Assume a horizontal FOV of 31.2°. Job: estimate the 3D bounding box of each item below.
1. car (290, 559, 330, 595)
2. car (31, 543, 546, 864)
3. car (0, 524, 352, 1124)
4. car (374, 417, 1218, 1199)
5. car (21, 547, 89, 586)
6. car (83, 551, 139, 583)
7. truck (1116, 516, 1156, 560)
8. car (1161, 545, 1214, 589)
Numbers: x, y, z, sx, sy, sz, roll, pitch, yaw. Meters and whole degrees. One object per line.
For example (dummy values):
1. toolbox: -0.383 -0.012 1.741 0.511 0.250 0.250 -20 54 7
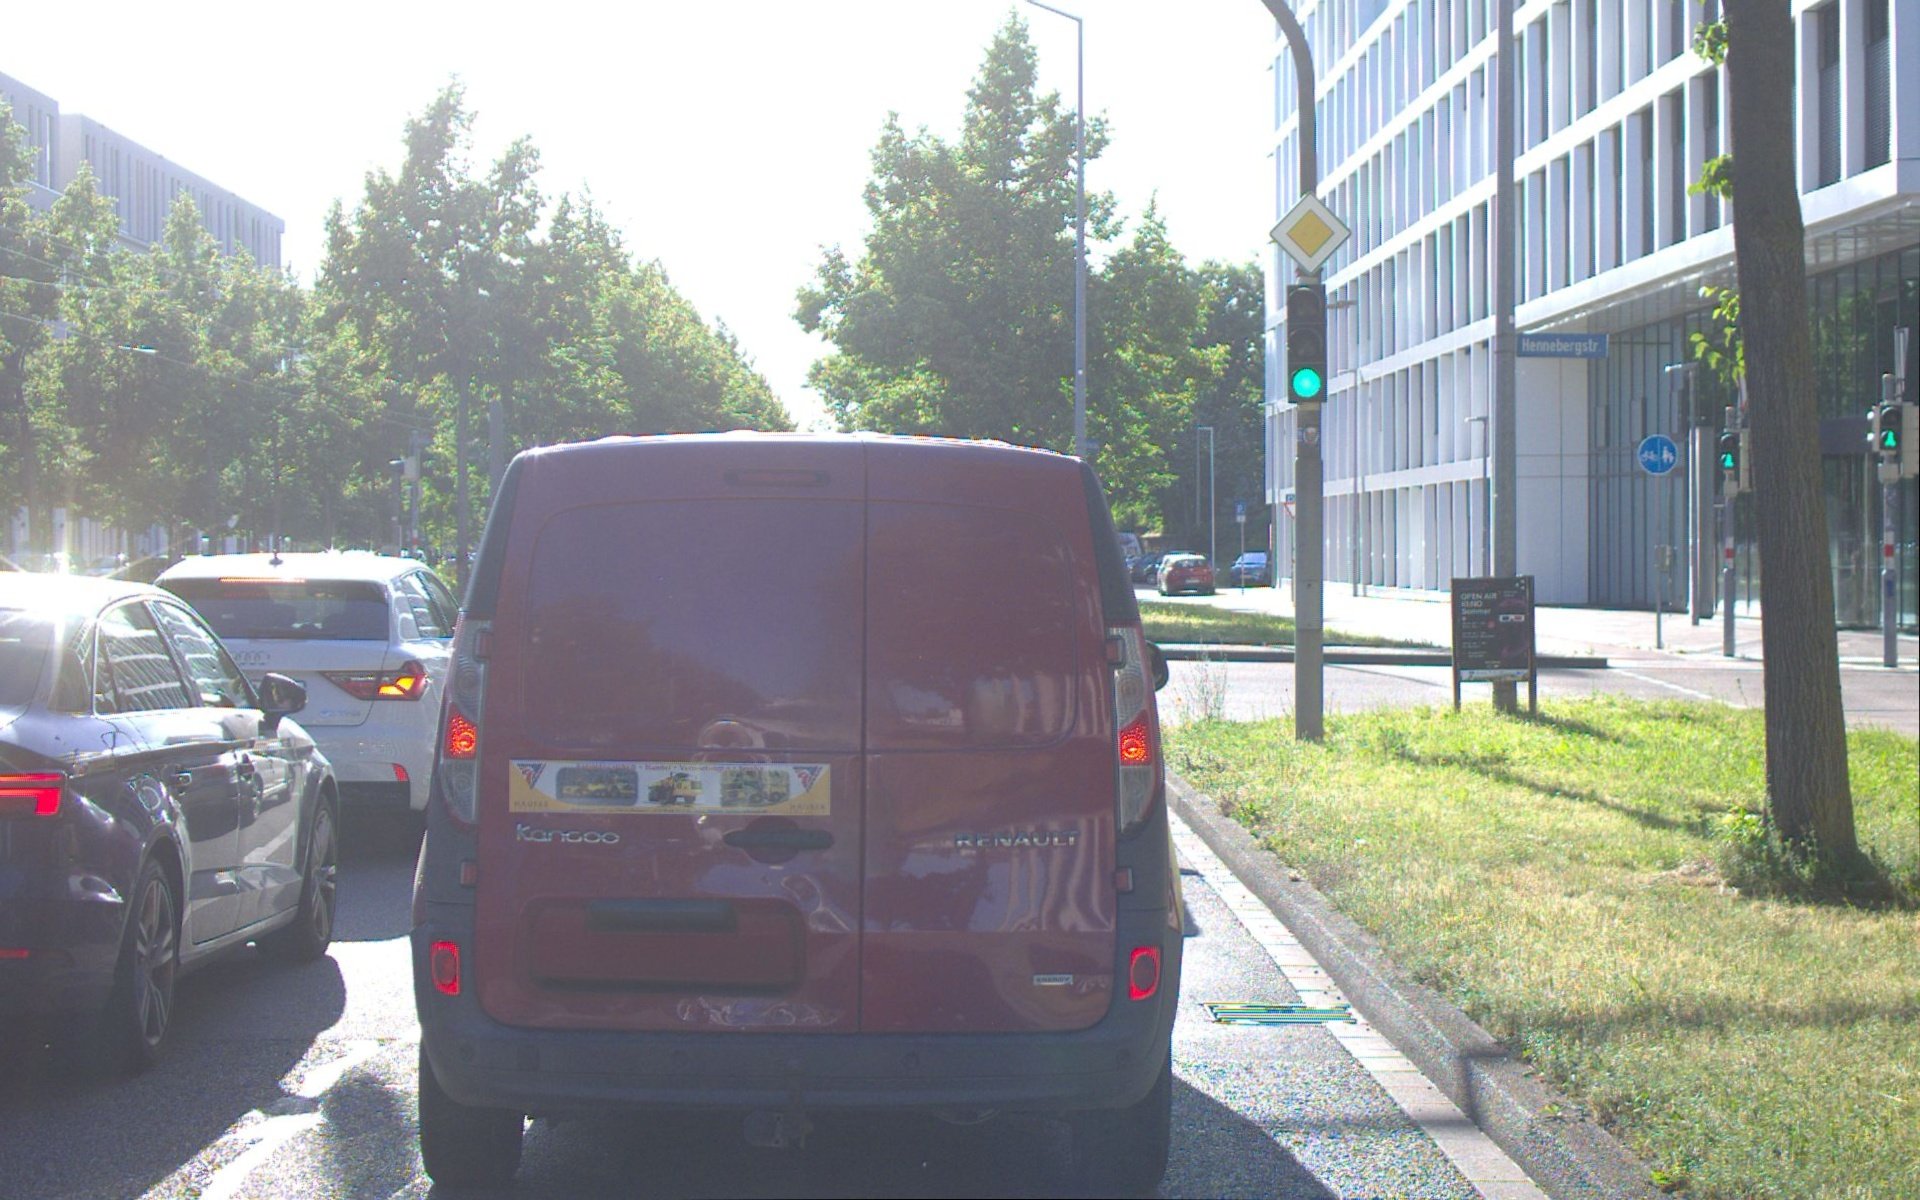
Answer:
1. car: -37.559 -1.352 198.673 1.728 2.007 4.001 0 1 -3
2. car: -3.264 0.432 17.503 1.808 1.430 4.113 0 1 0
3. car: -3.160 0.529 10.759 1.808 1.522 4.113 0 1 0
4. car: -0.347 0.463 9.425 1.808 1.788 4.113 0 1 0
5. car: -35.938 -1.351 136.635 1.776 1.523 3.806 0 1 -1
6. car: -36.814 -1.437 149.064 1.580 1.337 3.712 0 1 -1
7. truck: 10.165 -3.540 198.787 1.831 2.492 5.933 0 1 -1
8. car: 8.459 -1.229 127.864 1.758 1.606 3.903 0 1 1
